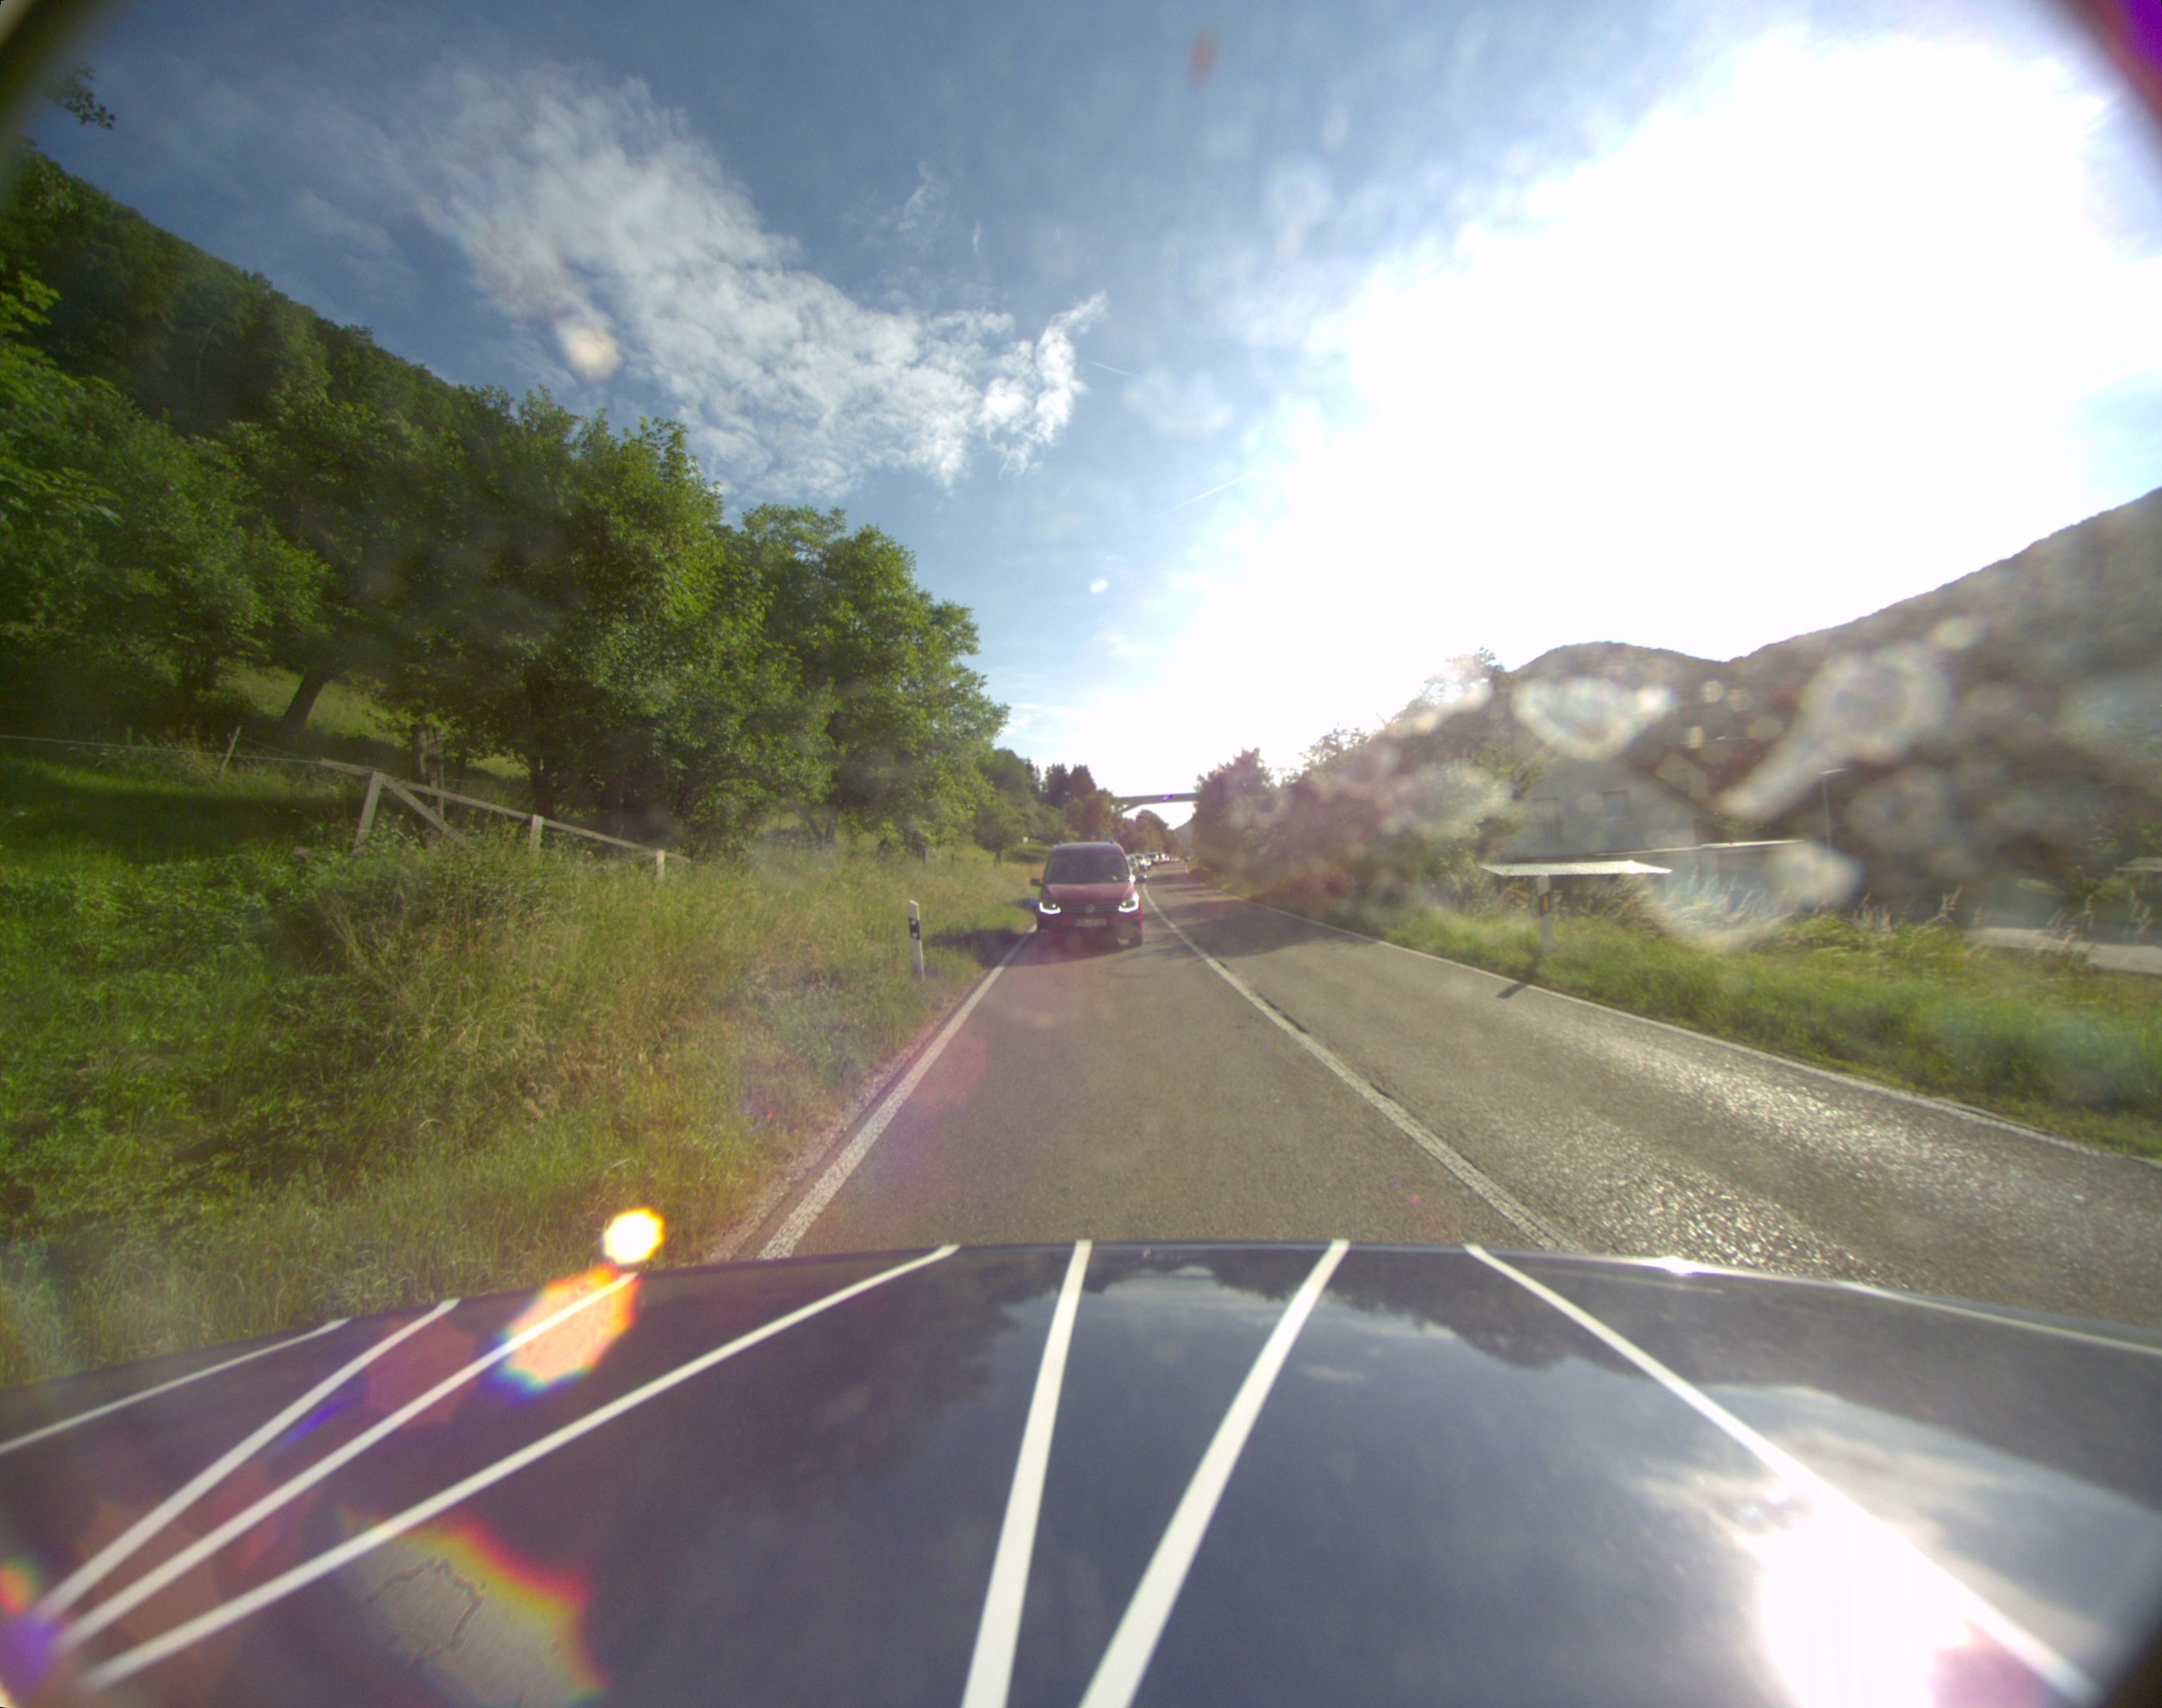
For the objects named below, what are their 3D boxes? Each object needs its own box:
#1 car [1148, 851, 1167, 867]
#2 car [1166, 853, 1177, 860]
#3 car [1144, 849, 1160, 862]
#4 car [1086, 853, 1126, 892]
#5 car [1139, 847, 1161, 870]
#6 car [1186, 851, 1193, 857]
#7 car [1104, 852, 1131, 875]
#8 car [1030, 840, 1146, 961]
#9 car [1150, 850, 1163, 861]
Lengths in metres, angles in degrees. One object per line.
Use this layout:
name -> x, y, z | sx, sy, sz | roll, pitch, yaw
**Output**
car -> 7.794, 0.501, 77.170 | 1.840, 1.543, 4.180 | -1, 0, 7
car -> 19.345, 0.510, 162.826 | 1.840, 1.543, 4.181 | -1, 0, 12
car -> 9.235, 0.232, 98.599 | 1.817, 1.608, 4.003 | -1, 0, 9
car -> 1.106, 0.755, 32.567 | 1.571, 1.575, 3.527 | -1, 0, 4
car -> 6.205, 0.381, 68.063 | 1.914, 2.002, 4.002 | -1, 0, 6
car -> 31.875, -0.003, 223.916 | 1.817, 1.608, 3.807 | -1, 0, 6
car -> 2.624, 0.643, 54.023 | 1.841, 1.543, 4.179 | -1, 0, 4
car -> 0.147, 0.714, 13.850 | 1.772, 1.855, 3.875 | -1, 0, 1
car -> 11.310, 0.198, 113.591 | 1.817, 1.608, 4.002 | -1, 0, 8
